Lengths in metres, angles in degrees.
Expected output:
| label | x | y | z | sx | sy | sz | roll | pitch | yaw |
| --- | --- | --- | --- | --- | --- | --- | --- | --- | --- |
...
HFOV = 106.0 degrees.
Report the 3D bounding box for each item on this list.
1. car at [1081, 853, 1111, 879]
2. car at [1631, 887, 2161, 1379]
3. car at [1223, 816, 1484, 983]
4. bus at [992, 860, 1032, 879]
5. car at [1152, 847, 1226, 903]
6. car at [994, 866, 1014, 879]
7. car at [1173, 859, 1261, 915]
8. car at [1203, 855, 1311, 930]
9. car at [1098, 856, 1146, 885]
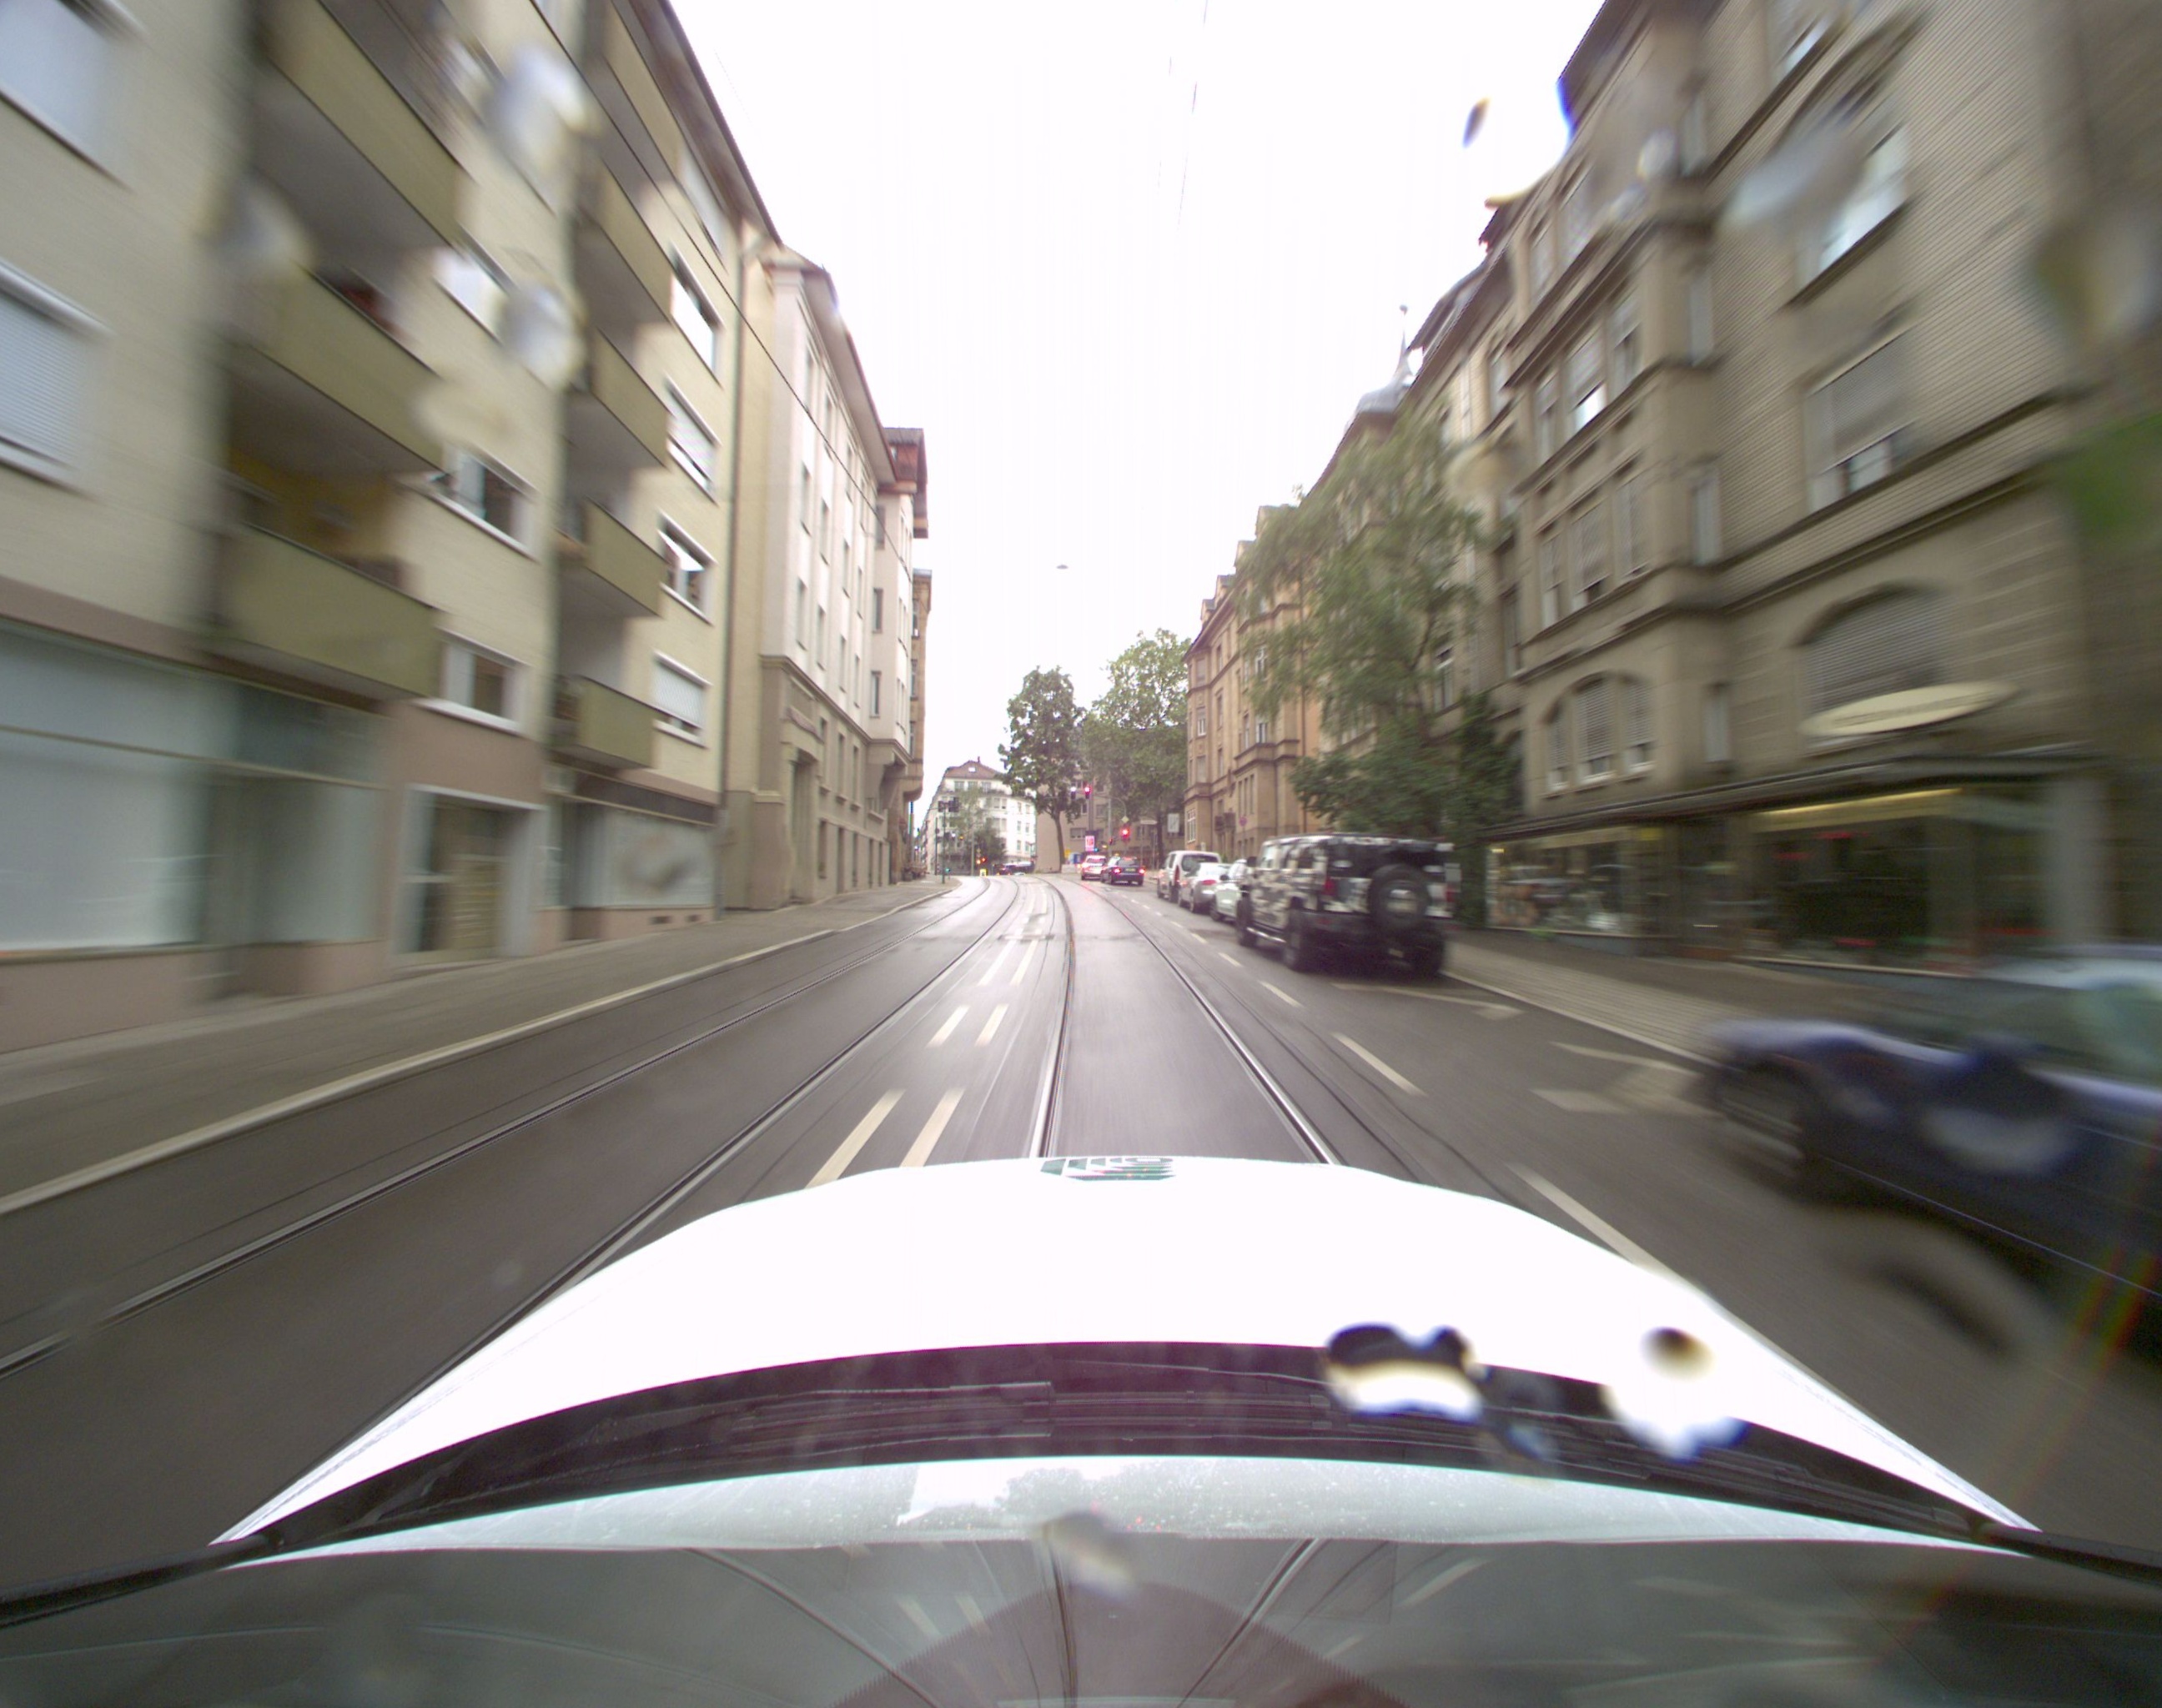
| label | x | y | z | sx | sy | sz | roll | pitch | yaw |
| --- | --- | --- | --- | --- | --- | --- | --- | --- | --- |
| car | 0.871 | 0.676 | 49.252 | 1.705 | 1.456 | 3.552 | 1 | 0 | -1 |
| car | 4.037 | 0.883 | 2.913 | 1.671 | 1.338 | 3.886 | 1 | 0 | 3 |
| car | 3.898 | 0.573 | 12.884 | 2.123 | 2.013 | 5.346 | 2 | 0 | -2 |
| bus | -11.184 | 2.543 | 132.826 | 2.830 | 2.861 | 8.778 | -1 | 0 | 21 |
| car | 3.775 | 0.701 | 29.206 | 1.793 | 1.765 | 4.458 | 2 | 0 | -3 |
| car | -9.960 | 2.356 | 105.910 | 1.785 | 1.510 | 4.006 | -2 | 0 | 6 |
| car | 3.887 | 0.893 | 23.983 | 1.743 | 1.400 | 4.476 | 2 | 0 | -1 |
| car | 4.010 | 0.820 | 19.062 | 1.556 | 1.546 | 3.580 | 2 | 0 | -3 |
| car | 2.115 | 0.861 | 43.386 | 1.710 | 1.415 | 4.023 | 1 | 0 | -9 |
